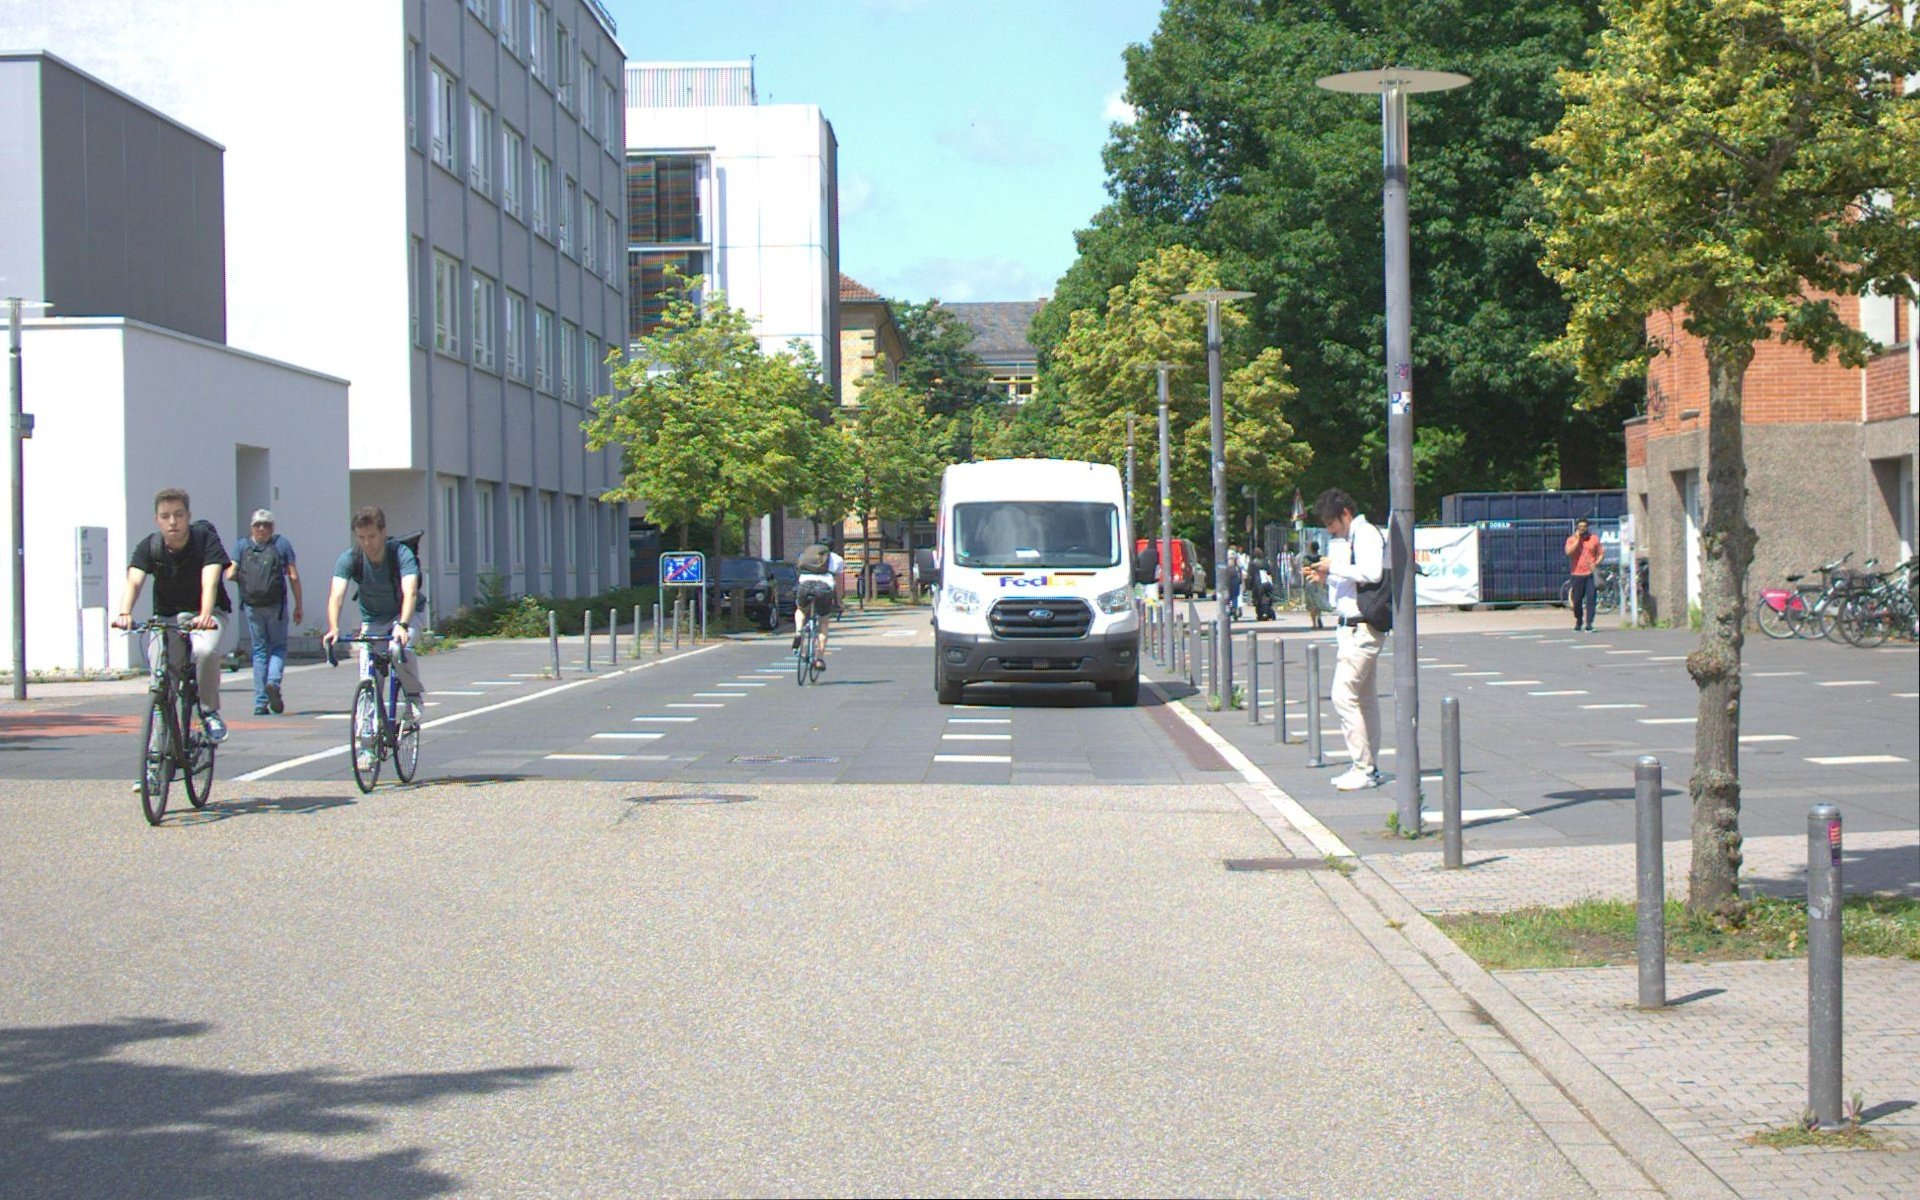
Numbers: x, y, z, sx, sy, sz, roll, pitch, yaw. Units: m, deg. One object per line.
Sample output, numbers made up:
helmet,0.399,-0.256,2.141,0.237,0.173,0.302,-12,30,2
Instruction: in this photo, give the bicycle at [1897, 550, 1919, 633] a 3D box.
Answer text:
bicycle,12.214,-0.136,41.134,1.809,0.981,0.560,-2,1,1

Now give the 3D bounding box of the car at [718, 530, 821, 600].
car,-4.364,-0.826,79.328,1.796,1.525,3.999,-1,1,5

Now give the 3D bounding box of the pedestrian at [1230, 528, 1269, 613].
pedestrian,6.432,-0.666,76.448,0.790,1.853,1.026,-1,1,2

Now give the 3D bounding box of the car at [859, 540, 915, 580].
car,-2.919,-1.621,138.363,1.796,1.525,3.999,-1,1,5

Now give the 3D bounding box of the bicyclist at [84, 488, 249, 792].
bicyclist,-4.313,0.205,18.725,0.643,1.596,0.909,-2,1,-1

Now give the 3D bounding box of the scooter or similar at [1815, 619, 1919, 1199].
scooter or similar,2.590,0.678,7.458,1.263,1.260,0.649,-1,1,33

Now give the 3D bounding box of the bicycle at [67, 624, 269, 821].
bicycle,-4.292,0.640,18.752,0.677,0.961,2.003,0,1,-1

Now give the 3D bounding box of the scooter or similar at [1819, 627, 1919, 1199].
scooter or similar,2.406,0.690,6.689,1.263,1.260,0.649,-1,1,33

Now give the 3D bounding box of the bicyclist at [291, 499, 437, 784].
bicyclist,-3.630,0.240,20.996,0.667,1.676,0.993,-2,1,-1

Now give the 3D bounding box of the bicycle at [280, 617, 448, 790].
bicycle,-3.633,0.608,21.091,0.677,0.961,2.003,1,1,0

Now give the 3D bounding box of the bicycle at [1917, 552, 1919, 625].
bicycle,12.288,-0.116,40.539,1.809,0.981,0.560,-2,1,1

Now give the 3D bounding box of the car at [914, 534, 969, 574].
car,-0.727,-1.854,137.730,1.796,1.525,3.999,-1,1,5

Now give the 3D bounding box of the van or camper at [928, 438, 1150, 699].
van or camper,0.734,-0.312,35.024,1.993,2.437,4.570,1,0,-1

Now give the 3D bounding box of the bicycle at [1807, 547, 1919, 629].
bicycle,11.815,-0.164,43.916,1.809,0.981,0.560,-2,1,1

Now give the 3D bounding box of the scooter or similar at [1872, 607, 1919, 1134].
scooter or similar,2.927,0.644,8.262,1.263,1.260,0.638,-1,1,33

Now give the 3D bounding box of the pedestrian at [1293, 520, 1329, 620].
pedestrian,6.581,-0.574,64.465,0.576,1.853,0.570,-1,1,-1

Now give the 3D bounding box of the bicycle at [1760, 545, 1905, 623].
bicycle,11.909,-0.222,46.957,1.809,0.981,0.560,-2,1,1

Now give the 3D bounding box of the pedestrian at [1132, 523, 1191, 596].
pedestrian,5.910,-1.197,100.896,1.499,1.989,1.646,-4,2,-1

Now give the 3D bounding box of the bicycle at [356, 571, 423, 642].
bicycle,-8.307,0.090,50.105,0.523,0.981,1.632,-2,1,5

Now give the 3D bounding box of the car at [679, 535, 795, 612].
car,-4.630,-0.570,71.921,1.796,1.525,3.999,-1,1,5

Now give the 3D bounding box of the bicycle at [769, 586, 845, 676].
bicycle,-1.765,0.343,39.887,0.706,0.990,1.910,1,1,2

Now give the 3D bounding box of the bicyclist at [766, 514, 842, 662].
bicyclist,-1.796,-0.142,39.698,0.717,1.656,1.095,-3,1,2

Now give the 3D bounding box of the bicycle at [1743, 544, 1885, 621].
bicycle,11.905,-0.248,47.950,1.809,0.981,0.560,-2,1,1

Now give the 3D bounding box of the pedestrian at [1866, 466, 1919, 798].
pedestrian,5.387,0.143,18.062,0.853,1.727,1.160,-4,1,1

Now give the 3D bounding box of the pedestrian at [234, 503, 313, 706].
pedestrian,-6.121,0.040,30.625,0.666,1.779,0.985,-1,0,-12

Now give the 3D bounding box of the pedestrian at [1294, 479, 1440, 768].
pedestrian,2.478,0.133,21.034,0.702,1.689,0.962,-4,1,2

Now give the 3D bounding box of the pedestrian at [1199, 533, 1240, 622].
pedestrian,5.507,-0.480,72.987,0.790,1.853,1.243,-1,1,2

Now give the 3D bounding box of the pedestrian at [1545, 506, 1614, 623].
pedestrian,9.962,-0.573,55.317,0.851,1.853,1.116,-1,1,-1

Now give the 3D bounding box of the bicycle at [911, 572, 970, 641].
bicycle,-0.290,0.092,53.176,0.808,0.999,2.124,-1,1,2

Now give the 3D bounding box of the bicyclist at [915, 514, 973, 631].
bicyclist,-0.246,-0.429,53.265,0.771,1.750,0.848,4,1,1

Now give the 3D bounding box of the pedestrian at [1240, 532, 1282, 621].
pedestrian,6.351,-0.498,72.626,0.790,1.853,1.026,-1,1,2

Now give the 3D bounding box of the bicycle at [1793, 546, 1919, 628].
bicycle,11.807,-0.175,44.622,1.809,0.981,0.560,-2,1,1

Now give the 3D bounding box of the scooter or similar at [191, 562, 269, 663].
scooter or similar,-9.054,0.148,42.662,0.378,1.212,1.204,-1,1,17

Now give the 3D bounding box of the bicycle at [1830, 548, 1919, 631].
bicycle,11.892,-0.151,43.086,1.809,0.981,0.560,-2,1,1
